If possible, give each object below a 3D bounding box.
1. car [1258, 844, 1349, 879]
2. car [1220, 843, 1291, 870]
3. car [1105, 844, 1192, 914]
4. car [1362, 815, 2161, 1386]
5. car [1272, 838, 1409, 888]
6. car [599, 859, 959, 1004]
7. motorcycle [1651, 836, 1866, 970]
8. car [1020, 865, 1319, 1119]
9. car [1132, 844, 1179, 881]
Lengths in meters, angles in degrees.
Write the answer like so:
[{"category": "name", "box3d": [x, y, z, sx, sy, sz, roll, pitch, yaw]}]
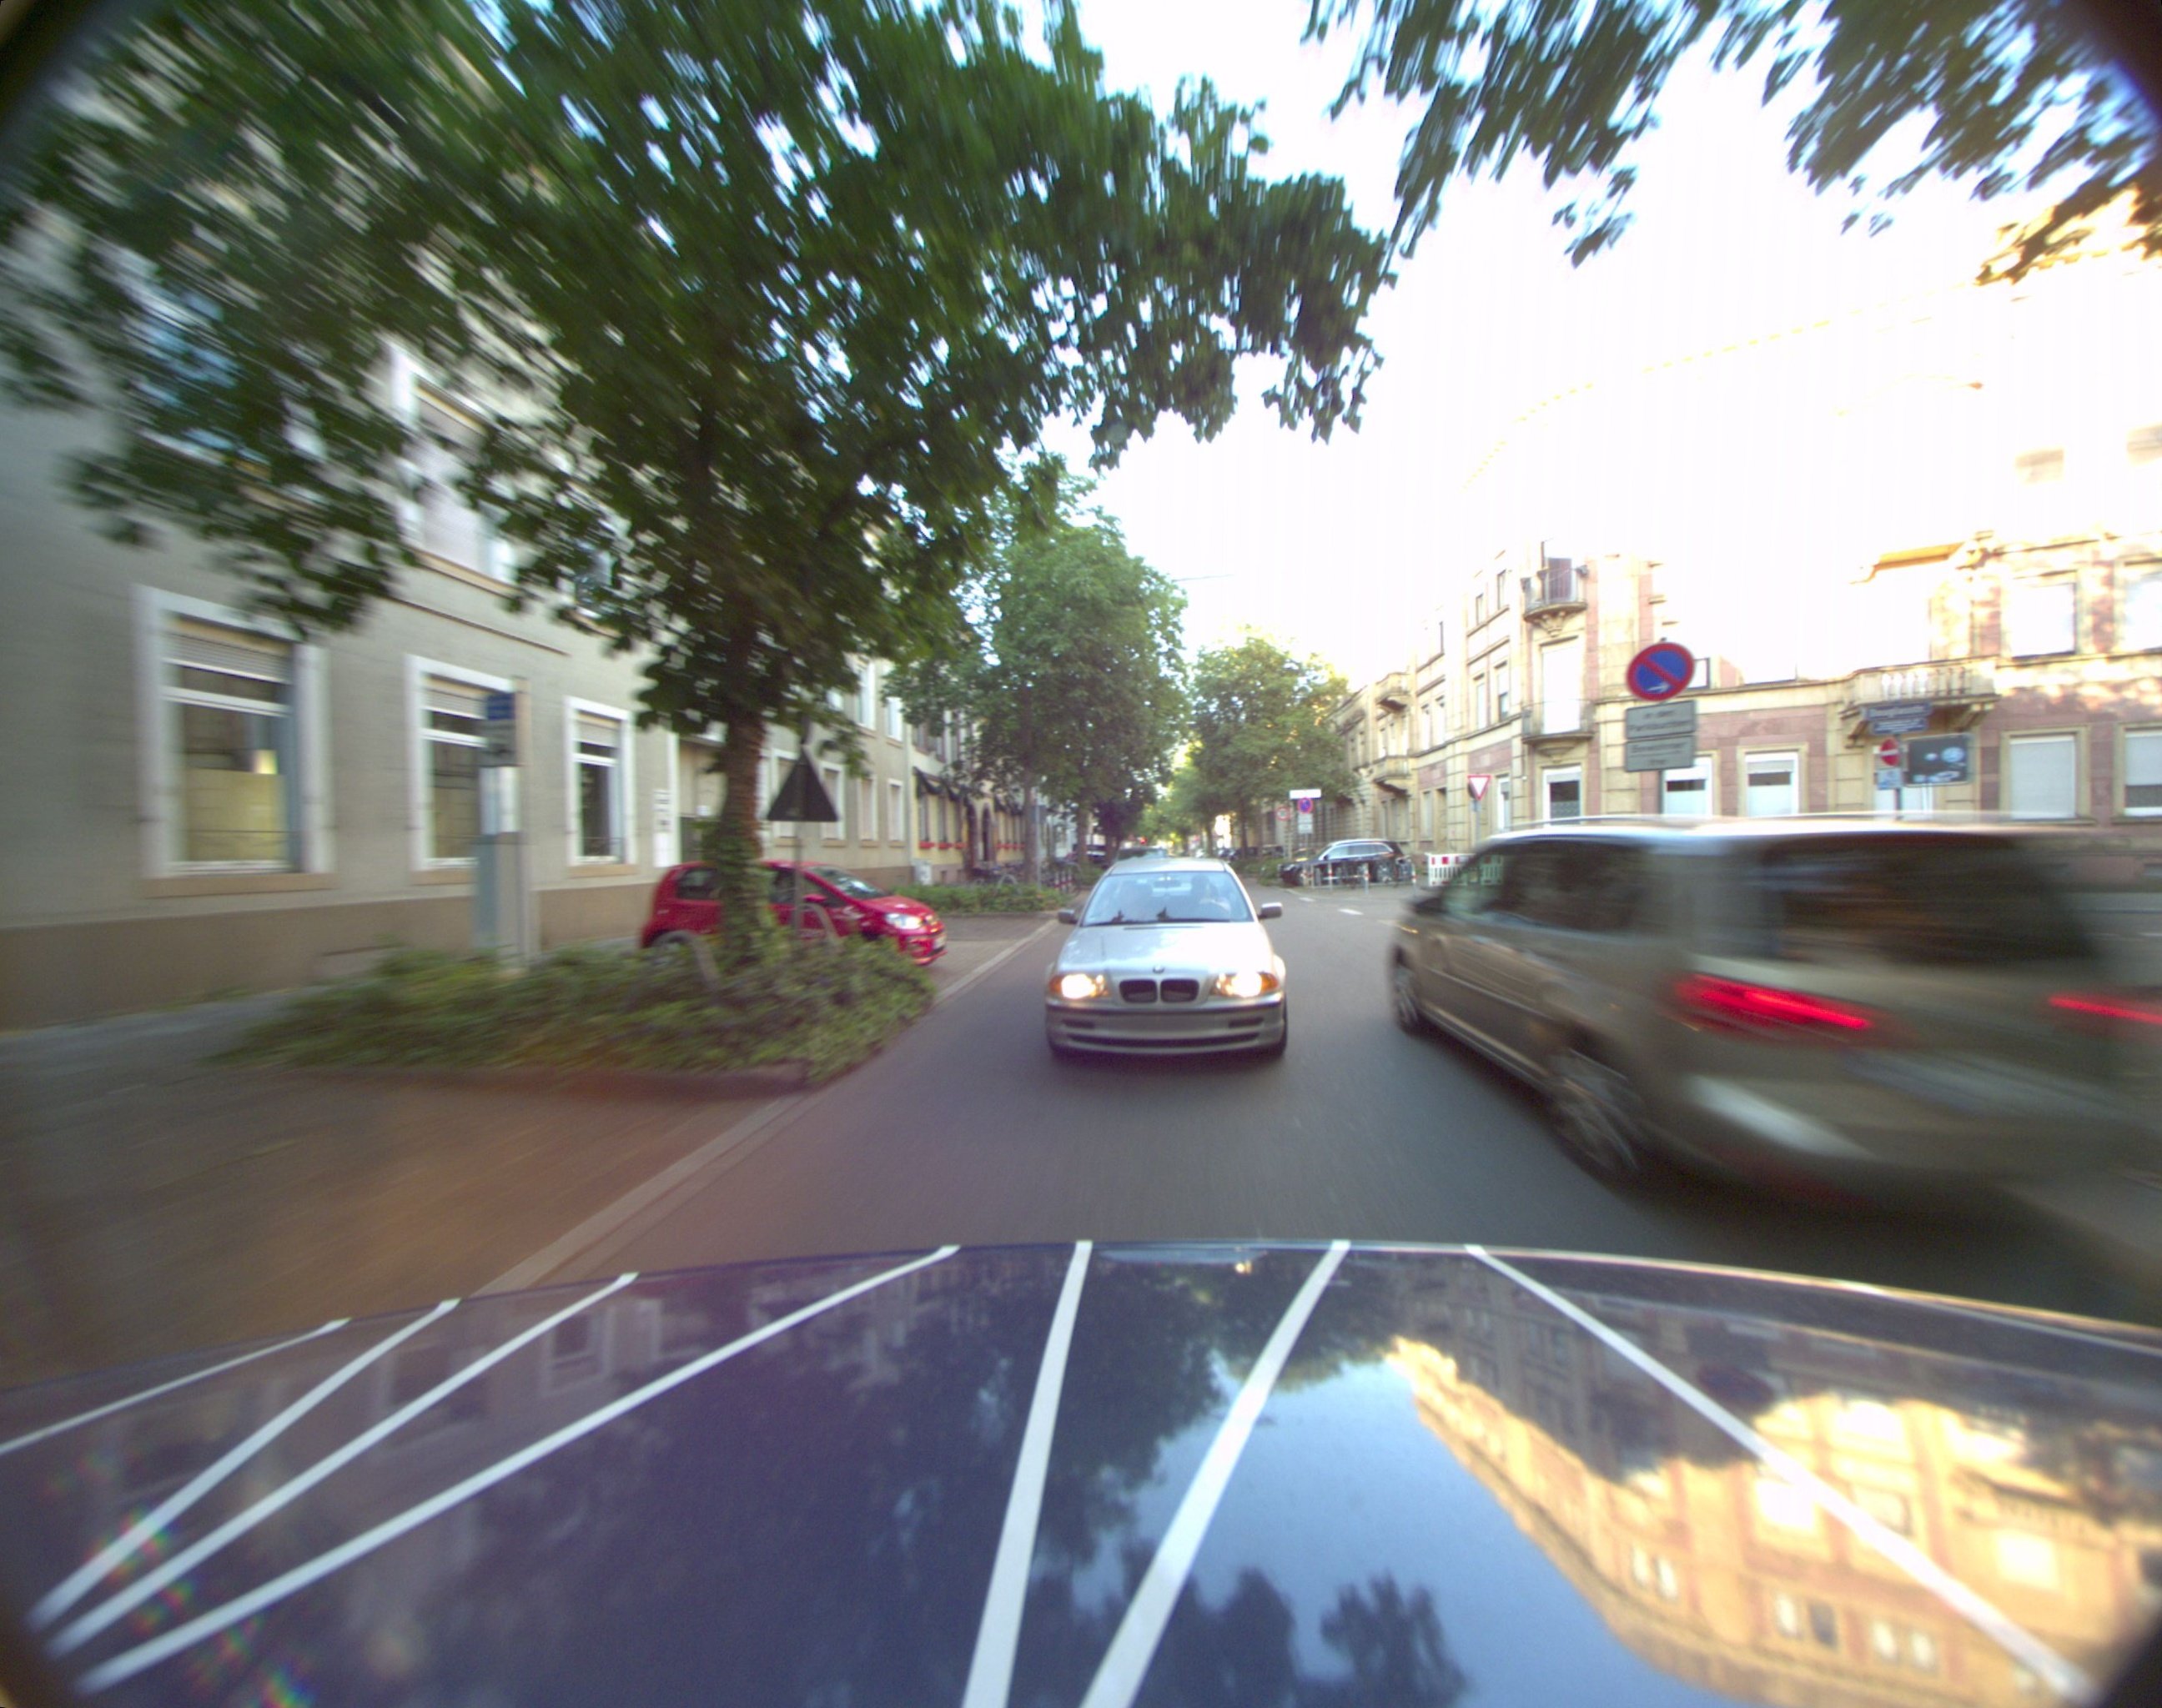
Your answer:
[{"category": "car", "box3d": [10.556, 0.346, 36.137, 3.992, 1.576, 2.002, -1, 1, 17]}, {"category": "car", "box3d": [11.965, 0.171, 52.388, 4.527, 1.706, 2.001, -2, 1, 7]}, {"category": "car", "box3d": [1.919, 0.594, 20.507, 1.892, 1.636, 4.003, -2, 1, 10]}, {"category": "car", "box3d": [3.207, 0.703, 4.411, 1.786, 1.679, 4.387, -2, 1, 4]}, {"category": "car", "box3d": [9.599, 0.324, 28.489, 4.599, 1.725, 2.142, -1, 1, 11]}, {"category": "car", "box3d": [-3.599, 0.900, 9.512, 3.730, 1.544, 1.755, -2, 1, 4]}, {"category": "motorcycle", "box3d": [8.243, 0.537, 9.257, 2.233, 1.461, 0.901, -2, 1, -16]}, {"category": "car", "box3d": [0.753, 0.863, 6.669, 1.736, 1.363, 4.334, -1, 1, 6]}, {"category": "car", "box3d": [3.800, 0.390, 38.227, 1.914, 1.679, 3.973, -1, 1, 11]}]
